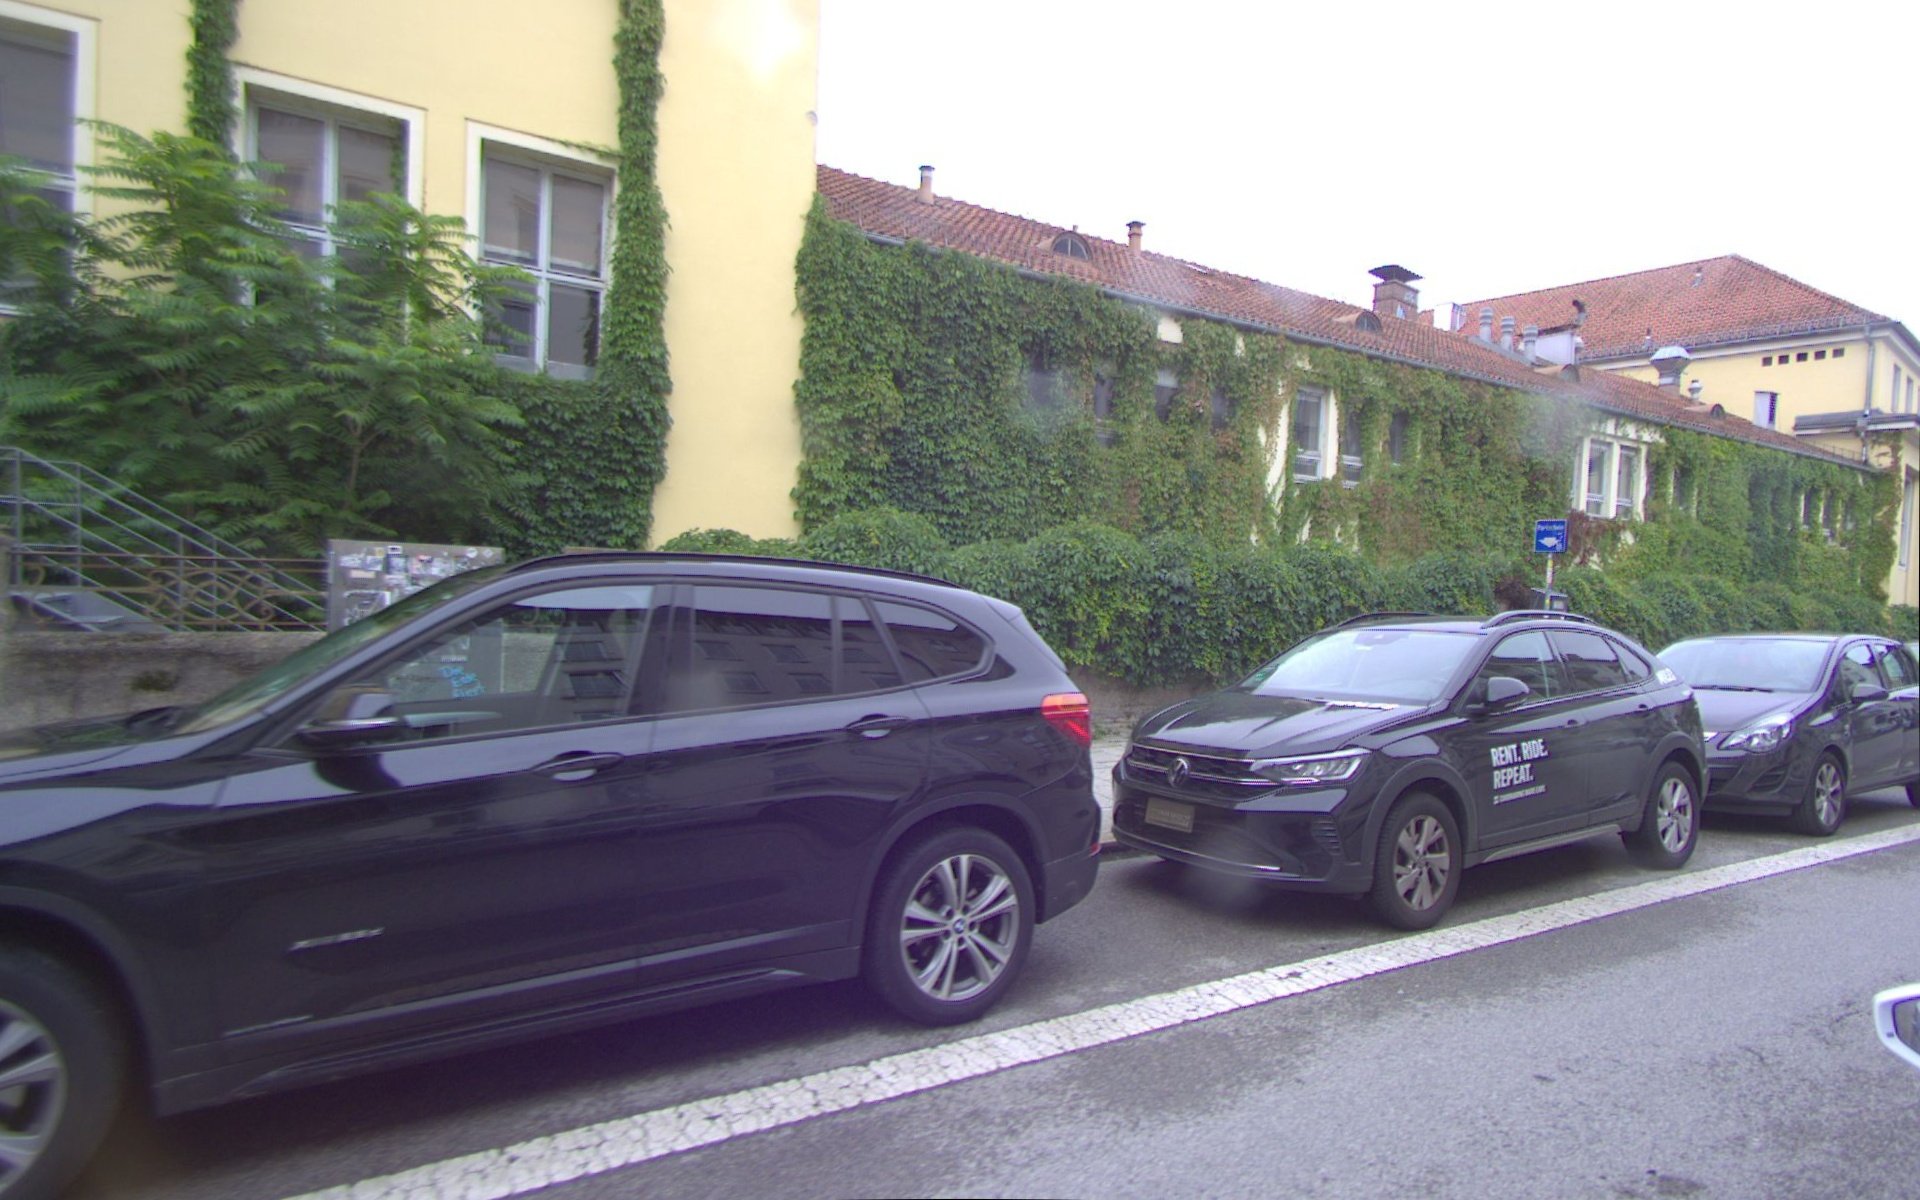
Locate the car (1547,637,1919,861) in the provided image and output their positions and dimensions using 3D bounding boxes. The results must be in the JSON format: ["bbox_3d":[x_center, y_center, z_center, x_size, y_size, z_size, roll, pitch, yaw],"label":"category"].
[{"bbox_3d":[6.736,1.055,8.405,3.861,1.475,1.570,1,-2,-32],"label":"car"}]

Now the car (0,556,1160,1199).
[{"bbox_3d":[-1.426,0.740,3.583,4.149,1.558,1.772,2,-2,-32],"label":"car"}]

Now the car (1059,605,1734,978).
[{"bbox_3d":[2.756,0.863,6.077,4.103,1.558,1.772,1,-2,-32],"label":"car"}]

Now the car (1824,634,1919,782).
[{"bbox_3d":[11.372,1.155,11.256,3.689,1.512,1.570,2,-2,-32],"label":"car"}]
